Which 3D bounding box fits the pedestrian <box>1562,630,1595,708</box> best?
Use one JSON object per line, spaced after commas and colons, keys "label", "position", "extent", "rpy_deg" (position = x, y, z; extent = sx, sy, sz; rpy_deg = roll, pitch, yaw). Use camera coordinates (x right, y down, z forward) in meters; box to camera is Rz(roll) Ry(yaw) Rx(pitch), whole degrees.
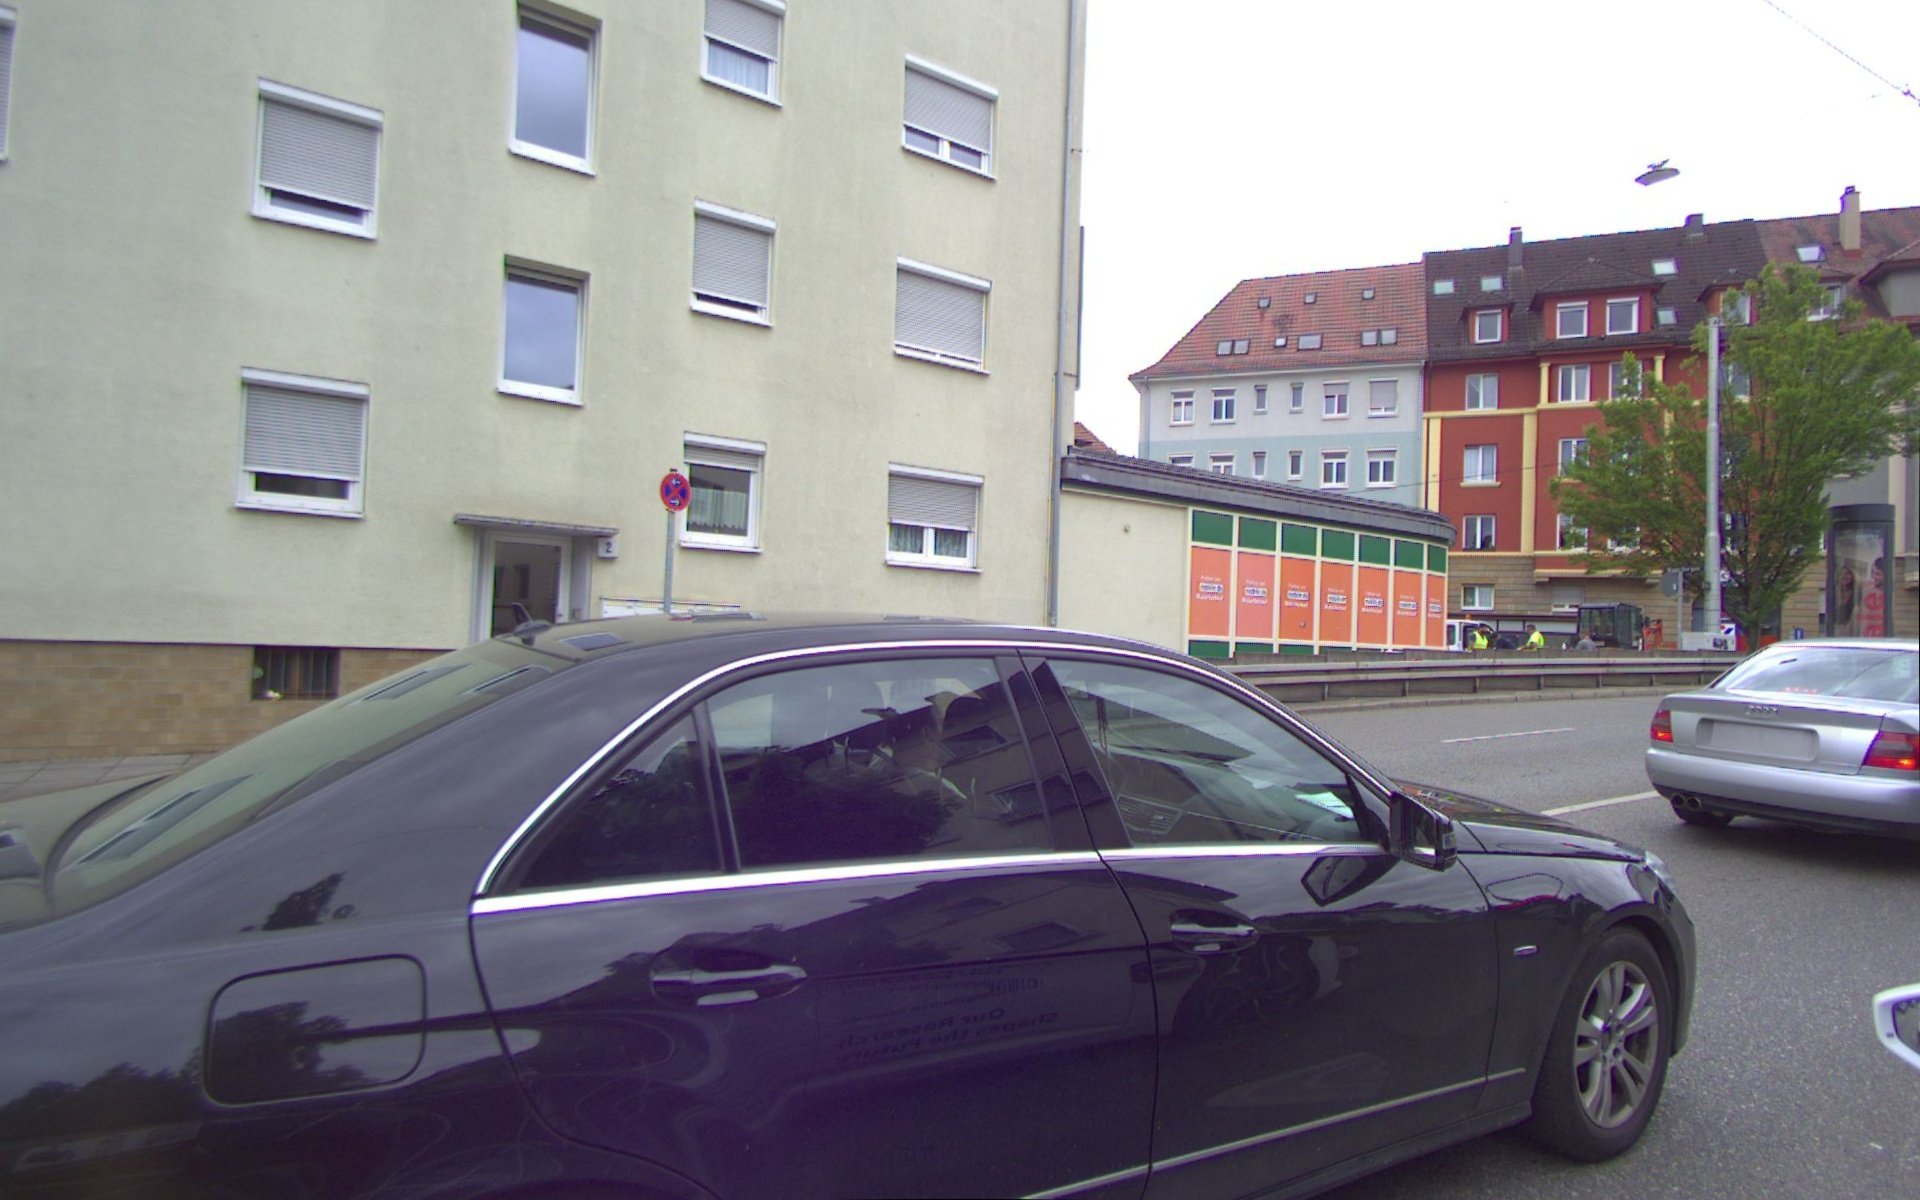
{"label": "pedestrian", "position": [14.377, 1.588, 23.361], "extent": [0.533, 1.753, 0.593], "rpy_deg": [3, 1, 26]}

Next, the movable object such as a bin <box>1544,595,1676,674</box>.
{"label": "movable object such as a bin", "position": [16.576, 0.845, 25.557], "extent": [3.972, 1.795, 1.884], "rpy_deg": [2, 1, -43]}

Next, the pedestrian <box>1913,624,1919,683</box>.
{"label": "pedestrian", "position": [26.129, 1.449, 26.995], "extent": [0.480, 1.588, 0.586], "rpy_deg": [2, 1, -30]}

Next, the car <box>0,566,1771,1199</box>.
{"label": "car", "position": [0.064, 0.748, 2.628], "extent": [4.393, 1.473, 1.739], "rpy_deg": [2, -1, -30]}

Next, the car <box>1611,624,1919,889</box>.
{"label": "car", "position": [6.739, 0.894, 7.121], "extent": [4.121, 1.391, 1.691], "rpy_deg": [0, 0, -26]}

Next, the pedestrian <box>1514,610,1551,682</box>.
{"label": "pedestrian", "position": [14.437, 1.152, 25.323], "extent": [0.612, 1.785, 0.566], "rpy_deg": [1, 1, -39]}

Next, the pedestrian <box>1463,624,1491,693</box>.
{"label": "pedestrian", "position": [13.560, 1.534, 26.362], "extent": [0.467, 1.753, 0.543], "rpy_deg": [2, 1, 14]}

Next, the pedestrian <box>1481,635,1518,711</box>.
{"label": "pedestrian", "position": [12.678, 1.709, 23.600], "extent": [0.539, 1.722, 0.557], "rpy_deg": [1, 1, -41]}
